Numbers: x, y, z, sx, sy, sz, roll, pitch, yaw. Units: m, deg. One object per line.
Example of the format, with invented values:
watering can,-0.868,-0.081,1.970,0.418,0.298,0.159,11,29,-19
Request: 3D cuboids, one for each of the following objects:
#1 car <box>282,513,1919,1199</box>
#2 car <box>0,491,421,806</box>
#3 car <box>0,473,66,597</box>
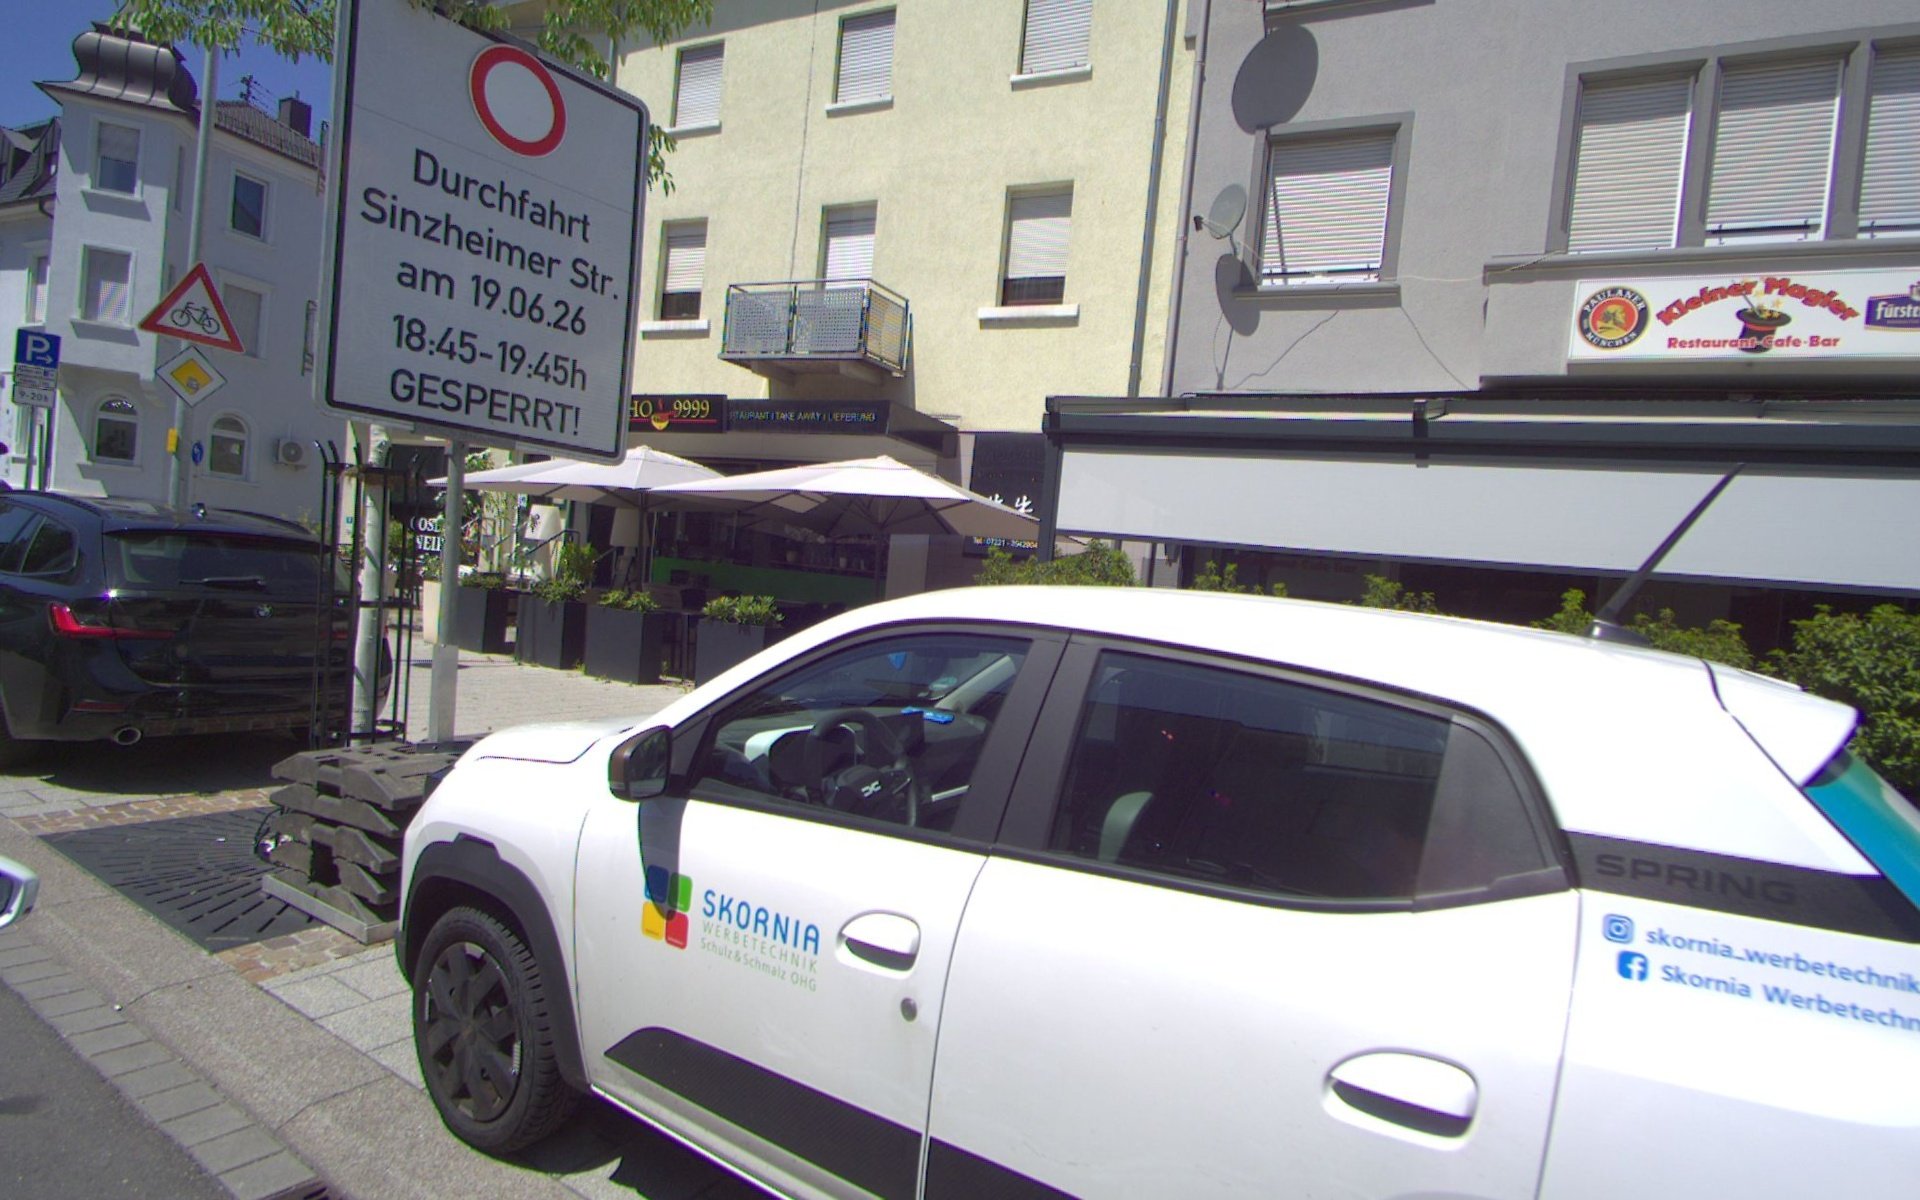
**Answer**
car,0.165,0.688,2.551,3.989,1.506,1.736,6,3,34
car,-5.648,0.064,6.547,4.533,1.424,1.724,6,2,32
car,-13.942,-1.042,13.973,3.808,1.511,1.867,9,3,42
